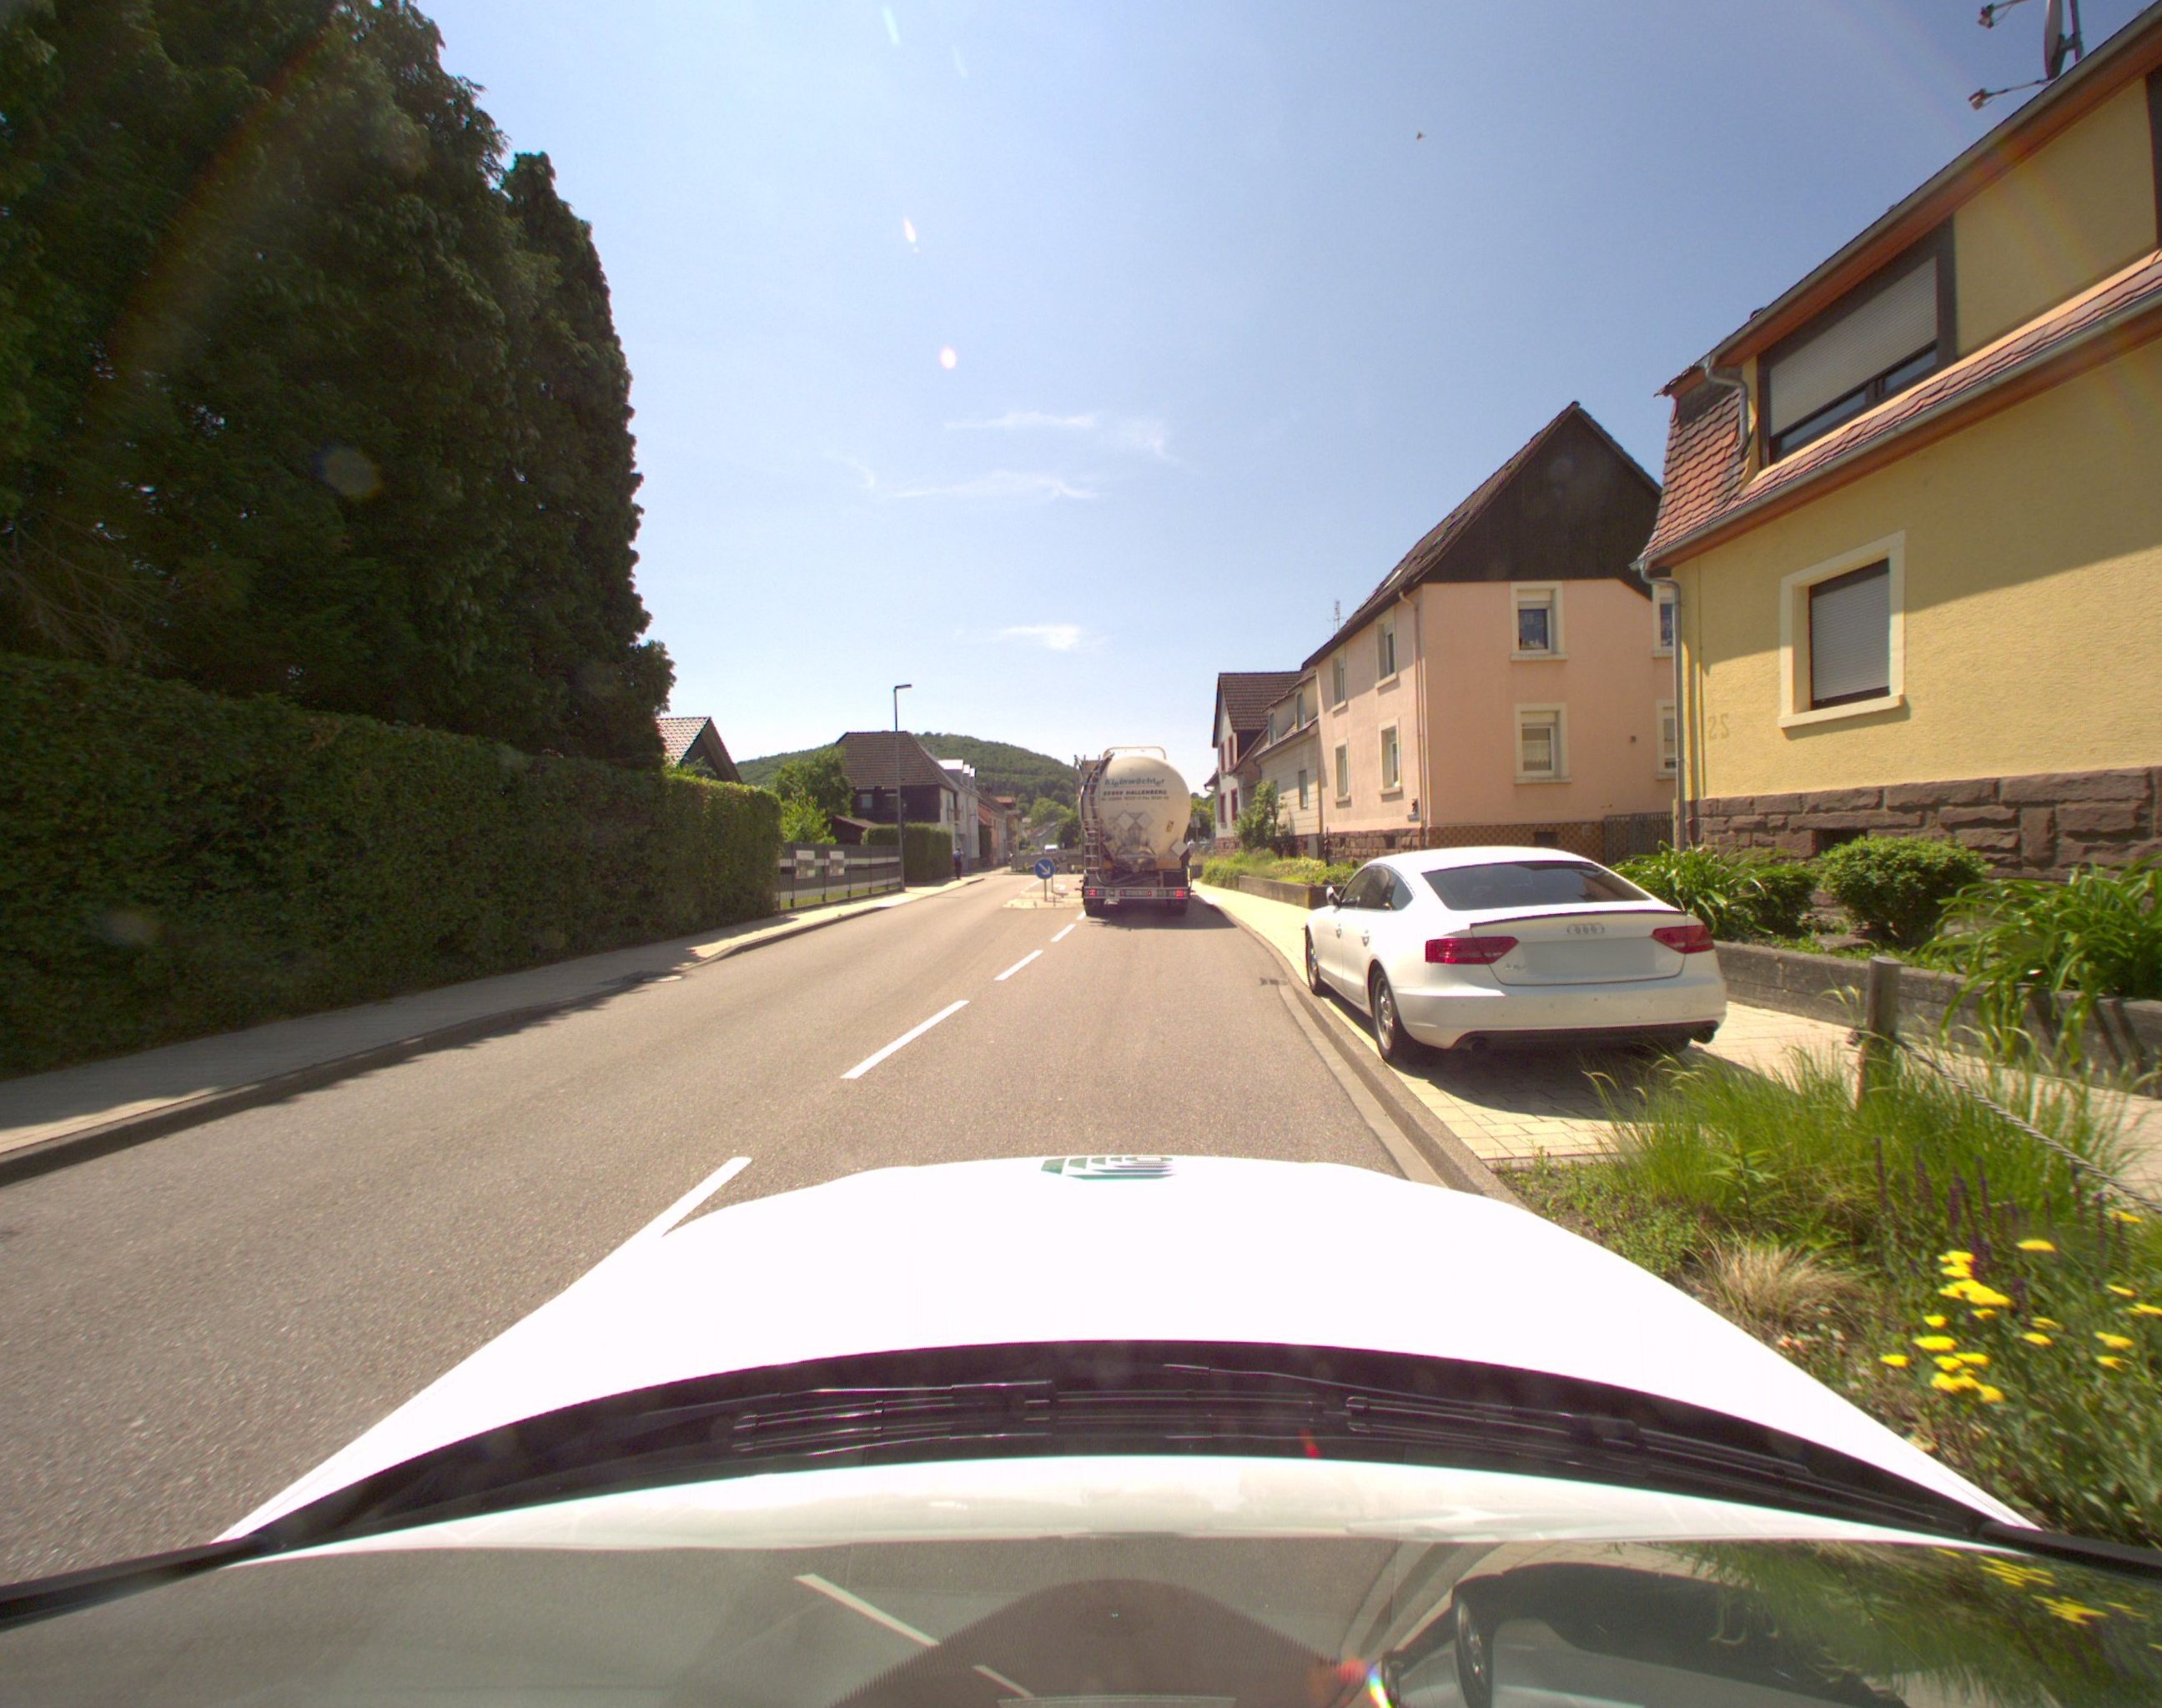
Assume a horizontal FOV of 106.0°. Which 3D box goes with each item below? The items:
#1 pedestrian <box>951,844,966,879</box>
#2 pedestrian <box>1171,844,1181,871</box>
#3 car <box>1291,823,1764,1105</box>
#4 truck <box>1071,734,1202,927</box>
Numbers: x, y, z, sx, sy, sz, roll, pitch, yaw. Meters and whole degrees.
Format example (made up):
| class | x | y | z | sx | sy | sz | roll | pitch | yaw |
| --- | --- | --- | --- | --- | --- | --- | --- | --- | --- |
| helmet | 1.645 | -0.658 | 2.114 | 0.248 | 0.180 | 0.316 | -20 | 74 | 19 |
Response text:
| class | x | y | z | sx | sy | sz | roll | pitch | yaw |
| --- | --- | --- | --- | --- | --- | --- | --- | --- | --- |
| pedestrian | -6.447 | 0.396 | 42.963 | 0.711 | 1.823 | 0.897 | 0 | -1 | -4 |
| pedestrian | 5.973 | 0.228 | 51.097 | 0.568 | 1.694 | 0.721 | 0 | -1 | 4 |
| car | 2.941 | 0.632 | 6.648 | 1.747 | 1.418 | 4.642 | -4 | -1 | 7 |
| truck | 1.129 | -0.523 | 22.752 | 2.742 | 4.056 | 10.885 | -1 | 0 | -1 |
